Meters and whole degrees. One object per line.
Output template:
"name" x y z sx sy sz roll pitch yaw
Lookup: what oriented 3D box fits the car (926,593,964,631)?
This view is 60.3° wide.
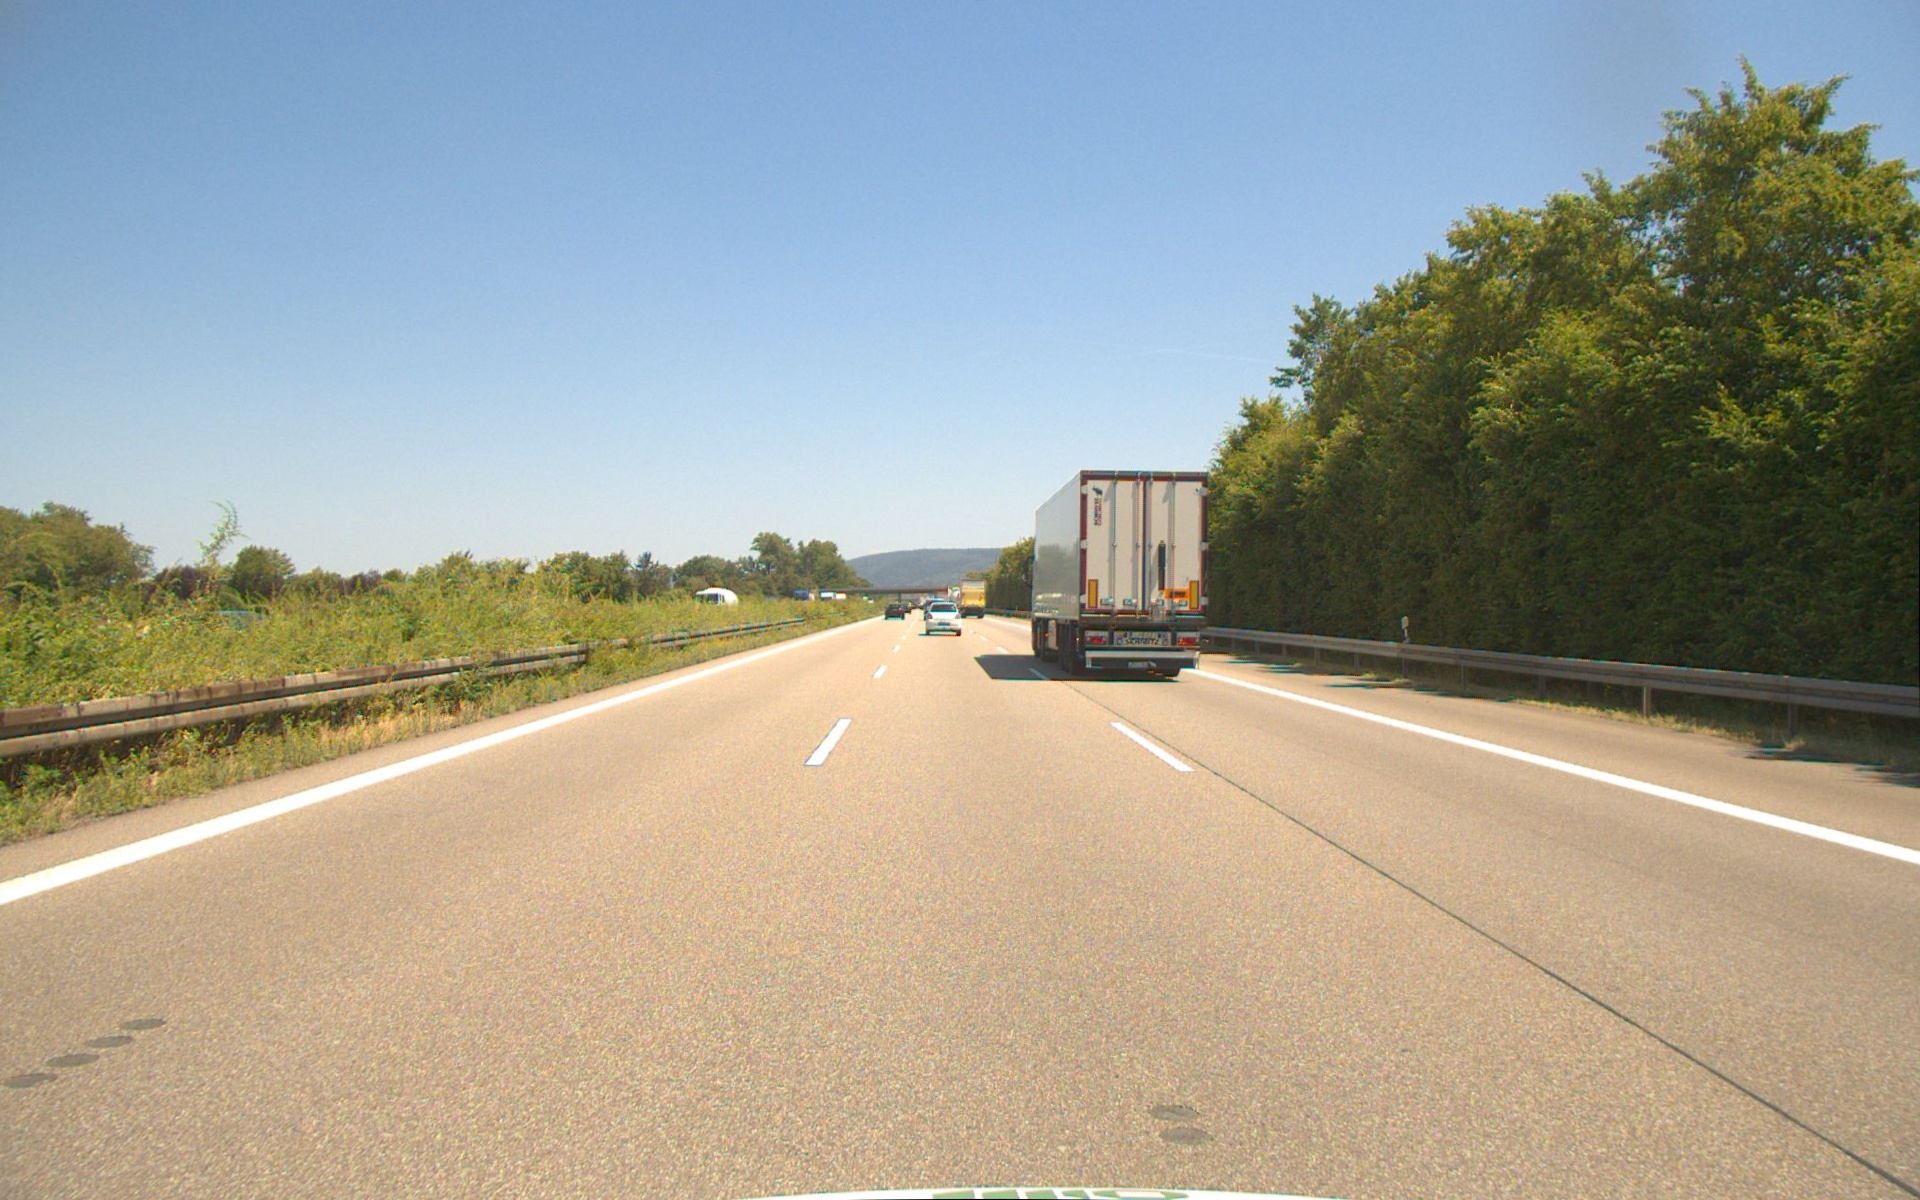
"car" -0.737 0.544 77.761 1.697 1.713 3.999 -1 0 -2

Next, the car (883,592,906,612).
"car" -5.909 0.206 150.092 1.953 1.742 3.999 1 0 -2

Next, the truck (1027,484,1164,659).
"truck" 3.619 -0.744 45.783 3.152 4.421 6.590 1 0 0

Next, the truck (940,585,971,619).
"truck" -0.717 0.254 237.180 4.184 4.733 13.857 0 0 -1

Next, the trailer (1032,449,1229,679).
"trailer" 3.631 -0.722 39.058 3.152 4.421 13.628 1 0 0

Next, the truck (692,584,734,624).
"truck" -22.578 0.339 151.489 3.162 3.578 5.432 0 0 -2

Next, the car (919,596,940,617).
"car" -2.659 0.512 142.327 1.750 1.742 3.999 1 0 -2

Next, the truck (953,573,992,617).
"truck" 1.270 -0.540 177.678 3.793 4.421 13.857 1 0 -1

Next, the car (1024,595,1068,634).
"car" 3.970 0.632 76.609 1.697 1.713 3.999 -1 0 -2

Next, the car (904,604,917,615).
"car" -7.010 1.321 233.038 1.759 1.578 3.999 0 0 -1
